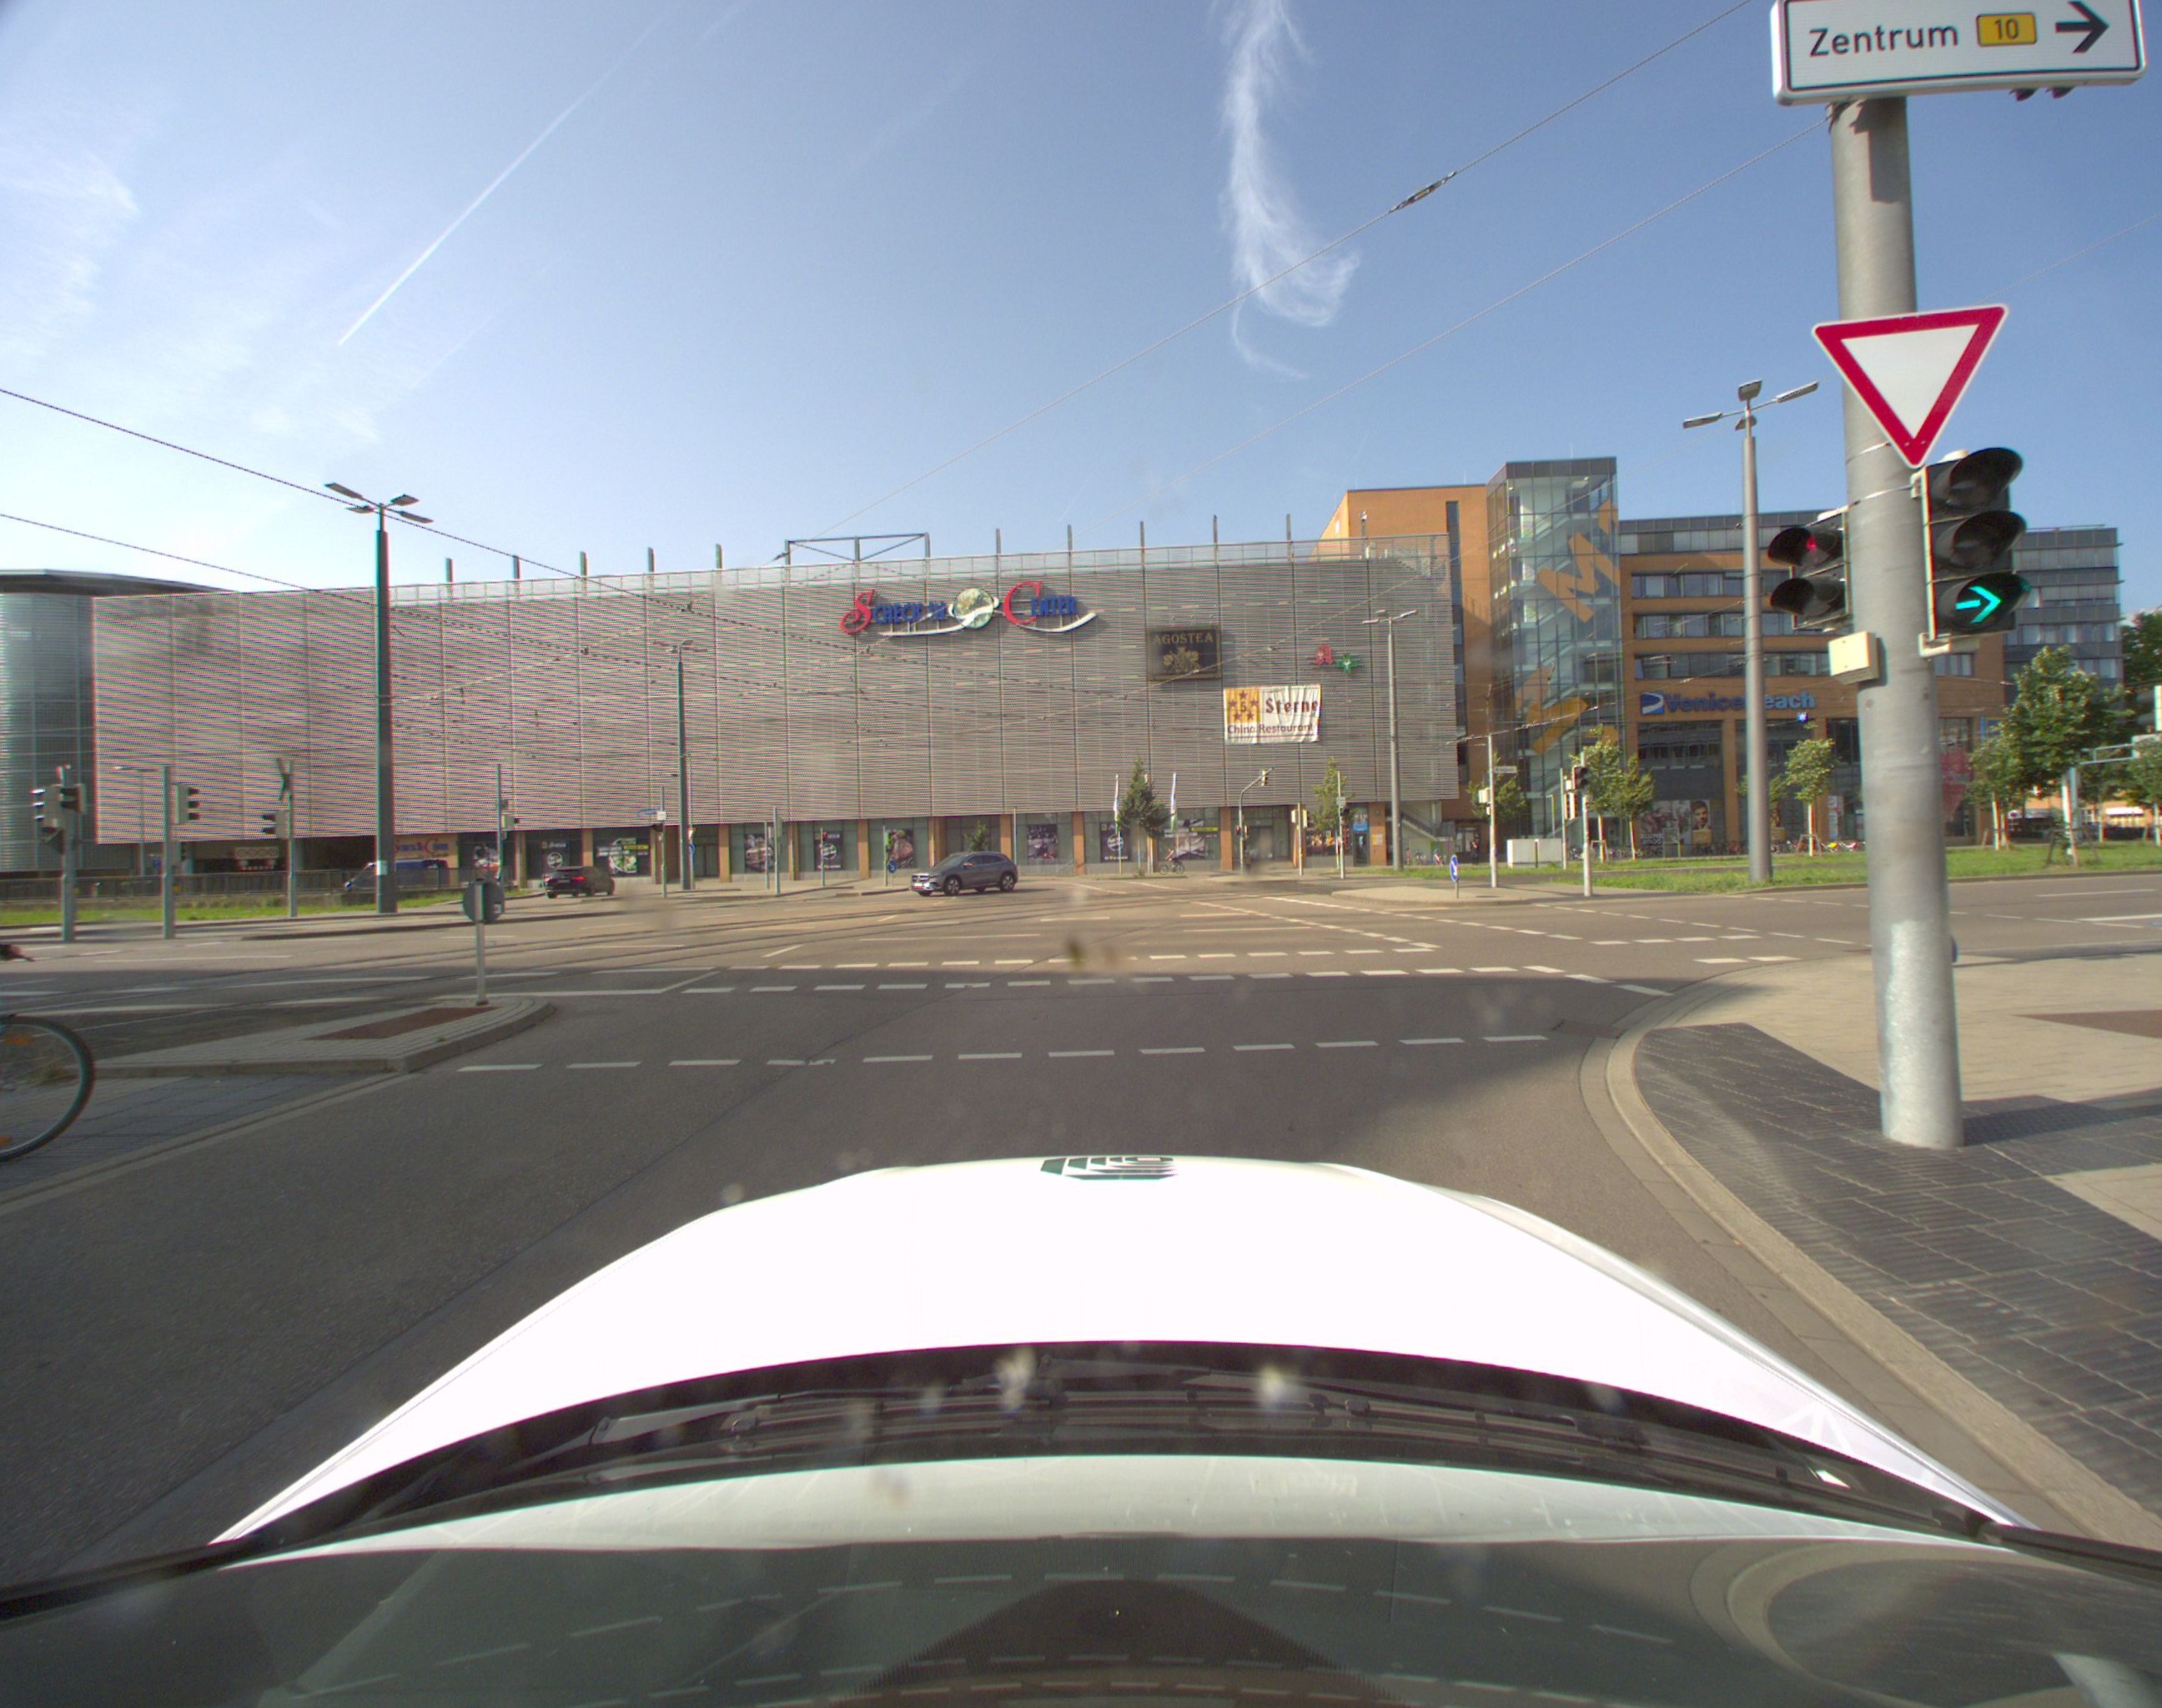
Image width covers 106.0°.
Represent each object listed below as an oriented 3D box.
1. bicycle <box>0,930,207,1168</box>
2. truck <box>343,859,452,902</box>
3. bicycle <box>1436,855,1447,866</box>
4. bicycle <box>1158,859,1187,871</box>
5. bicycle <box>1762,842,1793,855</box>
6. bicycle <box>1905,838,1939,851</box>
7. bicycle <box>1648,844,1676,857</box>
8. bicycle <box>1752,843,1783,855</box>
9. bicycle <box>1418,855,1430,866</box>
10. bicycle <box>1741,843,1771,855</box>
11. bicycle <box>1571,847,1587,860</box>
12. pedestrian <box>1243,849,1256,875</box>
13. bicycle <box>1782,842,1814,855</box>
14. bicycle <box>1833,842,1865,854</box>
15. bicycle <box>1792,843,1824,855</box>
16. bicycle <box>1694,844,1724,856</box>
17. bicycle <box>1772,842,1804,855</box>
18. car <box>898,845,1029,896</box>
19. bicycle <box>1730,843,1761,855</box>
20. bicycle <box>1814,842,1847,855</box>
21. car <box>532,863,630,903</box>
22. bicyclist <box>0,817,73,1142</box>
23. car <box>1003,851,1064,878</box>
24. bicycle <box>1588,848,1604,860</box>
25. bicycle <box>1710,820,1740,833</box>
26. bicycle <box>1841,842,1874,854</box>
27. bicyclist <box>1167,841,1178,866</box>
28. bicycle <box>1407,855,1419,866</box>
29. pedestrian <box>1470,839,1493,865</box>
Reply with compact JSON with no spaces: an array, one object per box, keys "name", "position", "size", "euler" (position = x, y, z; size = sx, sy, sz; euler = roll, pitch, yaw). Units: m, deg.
[{"name":"bicycle","position":[-5.870,0.983,4.215],"size":[1.797,1.098,0.668],"euler":[0,-1,-8]},{"name":"truck","position":[-40.887,1.558,48.780],"size":[4.524,2.322,2.206],"euler":[-2,0,-2]},{"name":"bicycle","position":[25.142,0.435,56.759],"size":[0.358,0.752,1.025],"euler":[-2,0,4]},{"name":"bicycle","position":[6.129,0.725,54.460],"size":[1.856,0.779,0.582],"euler":[0,-1,1]},{"name":"bicycle","position":[53.089,-0.392,62.119],"size":[0.570,0.921,2.053],"euler":[-2,0,-2]},{"name":"bicycle","position":[59.184,-0.647,57.335],"size":[0.704,0.907,1.682],"euler":[-1,0,3]},{"name":"bicycle","position":[43.831,-0.279,61.472],"size":[0.570,0.921,2.053],"euler":[-2,0,-2]},{"name":"bicycle","position":[52.238,-0.375,61.993],"size":[0.570,0.921,2.053],"euler":[-2,0,-2]},{"name":"bicycle","position":[23.961,0.436,56.831],"size":[0.448,0.752,1.007],"euler":[-2,0,4]},{"name":"bicycle","position":[51.326,-0.373,61.940],"size":[0.570,0.921,2.053],"euler":[-2,0,-2]},{"name":"bicycle","position":[35.604,-0.025,58.241],"size":[0.255,0.887,1.467],"euler":[0,-1,0]},{"name":"pedestrian","position":[10.411,0.468,50.460],"size":[0.586,1.579,0.763],"euler":[-2,-1,-1]},{"name":"bicycle","position":[54.822,-0.423,62.304],"size":[0.570,0.921,2.053],"euler":[-2,0,-2]},{"name":"bicycle","position":[59.004,-0.433,62.580],"size":[0.378,0.921,2.053],"euler":[-2,0,-2]},{"name":"bicycle","position":[55.650,-0.393,62.384],"size":[0.570,0.921,2.053],"euler":[-2,0,-2]},{"name":"bicycle","position":[47.484,-0.297,61.597],"size":[0.570,0.921,2.053],"euler":[-2,0,-2]},{"name":"bicycle","position":[53.941,-0.432,62.184],"size":[0.570,0.921,2.053],"euler":[-2,0,-2]},{"name":"car","position":[-4.424,0.610,31.286],"size":[1.931,1.783,4.844],"euler":[-1,-1,43]},{"name":"bicycle","position":[50.490,-0.366,61.888],"size":[0.570,0.921,2.053],"euler":[-2,0,-2]},{"name":"bicycle","position":[57.381,-0.415,62.342],"size":[0.570,0.921,2.053],"euler":[-2,0,-2]},{"name":"car","position":[-23.324,1.295,38.174],"size":[1.986,1.695,4.001],"euler":[-2,0,1]},{"name":"bicyclist","position":[-5.968,0.658,4.214],"size":[0.634,1.703,0.668],"euler":[0,-1,-8]},{"name":"car","position":[-2.770,0.611,47.973],"size":[3.377,1.559,1.744],"euler":[0,-1,2]},{"name":"bicycle","position":[36.831,-0.030,58.249],"size":[0.255,0.830,1.468],"euler":[0,2,0]},{"name":"bicycle","position":[48.758,-2.094,61.700],"size":[0.570,0.921,2.053],"euler":[-2,0,-2]},{"name":"bicycle","position":[59.733,-0.436,62.660],"size":[0.570,0.921,2.053],"euler":[-2,0,-2]},{"name":"bicyclist","position":[6.131,-0.046,54.455],"size":[0.709,1.630,0.569],"euler":[0,-1,1]},{"name":"bicycle","position":[23.197,0.464,56.944],"size":[0.448,0.752,1.007],"euler":[-2,0,4]},{"name":"pedestrian","position":[27.570,-0.153,56.104],"size":[1.168,1.719,0.821],"euler":[-2,0,3]}]
